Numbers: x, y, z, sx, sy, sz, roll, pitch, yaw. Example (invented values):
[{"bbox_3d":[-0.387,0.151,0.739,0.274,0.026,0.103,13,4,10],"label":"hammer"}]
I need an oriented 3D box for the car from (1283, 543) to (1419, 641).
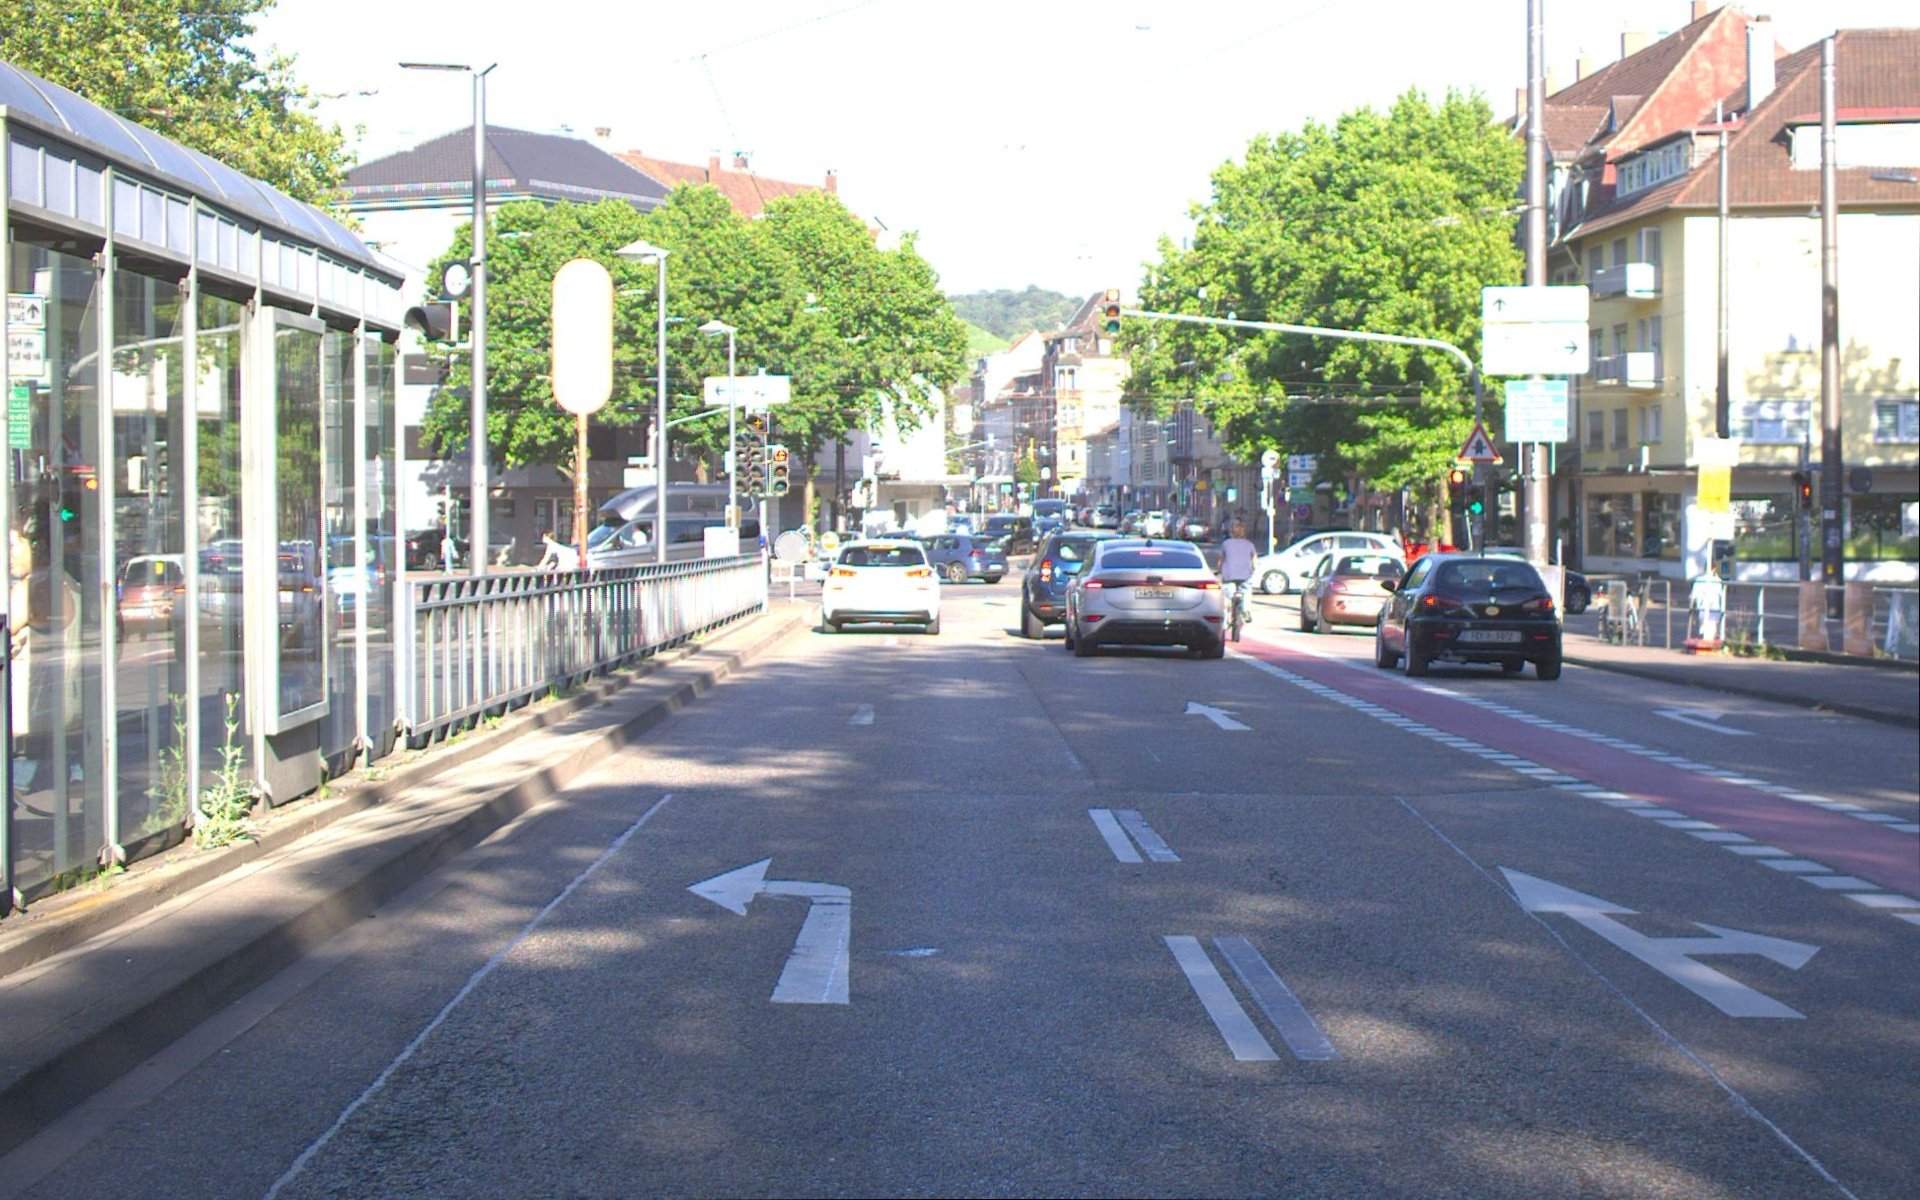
[{"bbox_3d":[6.634,-0.167,58.667,1.794,1.505,4.001,1,2,-1],"label":"car"}]

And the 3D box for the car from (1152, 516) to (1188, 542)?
[{"bbox_3d":[12.493,-4.220,204.791,1.794,1.505,4.000,0,1,-1],"label":"car"}]

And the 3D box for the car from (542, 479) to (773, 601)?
[{"bbox_3d":[-7.173,-1.399,81.523,5.013,2.733,2.074,1,0,-24],"label":"car"}]

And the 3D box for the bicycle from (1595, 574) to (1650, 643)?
[{"bbox_3d":[10.595,0.132,55.014,0.498,1.071,1.800,1,0,-1],"label":"bicycle"}]

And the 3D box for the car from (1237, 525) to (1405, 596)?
[{"bbox_3d":[9.096,-0.994,86.707,4.148,1.686,1.821,1,1,6],"label":"car"}]

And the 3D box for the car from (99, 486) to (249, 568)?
[{"bbox_3d":[-31.071,-2.875,136.206,2.499,3.154,6.528,1,1,22],"label":"car"}]

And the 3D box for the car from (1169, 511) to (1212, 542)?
[{"bbox_3d":[13.280,-4.224,198.263,2.105,1.770,4.342,0,1,-1],"label":"car"}]

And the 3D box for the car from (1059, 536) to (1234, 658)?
[{"bbox_3d":[2.361,-0.078,44.631,1.929,1.467,4.855,1,1,-1],"label":"car"}]

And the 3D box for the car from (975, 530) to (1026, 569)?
[{"bbox_3d":[1.925,-2.381,162.011,1.795,1.820,3.999,0,1,10],"label":"car"}]

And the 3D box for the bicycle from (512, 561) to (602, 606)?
[{"bbox_3d":[-7.433,-0.305,63.410,1.613,0.813,0.526,1,1,26],"label":"bicycle"}]

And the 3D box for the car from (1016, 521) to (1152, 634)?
[{"bbox_3d":[1.831,-0.365,51.855,1.800,1.632,4.045,1,1,-1],"label":"car"}]

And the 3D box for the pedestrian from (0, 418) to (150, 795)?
[{"bbox_3d":[-4.075,0.024,15.613,0.595,1.672,0.589,1,1,5],"label":"pedestrian"}]

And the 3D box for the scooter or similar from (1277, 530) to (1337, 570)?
[{"bbox_3d":[11.085,-1.594,109.853,1.949,1.276,0.552,1,1,41],"label":"scooter or similar"}]

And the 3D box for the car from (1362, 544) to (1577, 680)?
[{"bbox_3d":[5.844,0.103,39.863,1.800,1.434,4.045,2,1,-1],"label":"car"}]

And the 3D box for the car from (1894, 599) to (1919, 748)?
[{"bbox_3d":[13.184,0.963,42.638,1.794,1.891,4.360,1,0,-3],"label":"car"}]

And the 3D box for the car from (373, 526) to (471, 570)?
[{"bbox_3d":[-20.562,-2.011,131.620,1.923,1.643,4.176,1,1,20],"label":"car"}]

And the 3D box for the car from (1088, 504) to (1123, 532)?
[{"bbox_3d":[10.787,-6.085,255.188,2.327,2.007,4.977,0,1,-1],"label":"car"}]

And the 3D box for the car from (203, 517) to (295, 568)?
[{"bbox_3d":[-27.929,-2.274,135.225,1.796,1.949,3.997,1,1,18],"label":"car"}]

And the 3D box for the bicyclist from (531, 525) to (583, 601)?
[{"bbox_3d":[-7.429,-0.686,63.404,0.801,1.409,0.526,1,1,26],"label":"bicyclist"}]

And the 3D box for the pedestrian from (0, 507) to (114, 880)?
[{"bbox_3d":[-3.462,0.322,12.362,0.678,1.304,0.593,1,1,0],"label":"pedestrian"}]

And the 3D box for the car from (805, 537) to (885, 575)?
[{"bbox_3d":[-4.684,-1.796,140.517,1.726,1.505,3.871,0,0,24],"label":"car"}]

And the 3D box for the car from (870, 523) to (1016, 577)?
[{"bbox_3d":[-0.506,-1.450,99.374,3.996,1.505,1.796,1,1,39],"label":"car"}]

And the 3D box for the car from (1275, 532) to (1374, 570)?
[{"bbox_3d":[14.910,-2.005,140.487,3.989,1.505,1.799,-1,1,-42],"label":"car"}]

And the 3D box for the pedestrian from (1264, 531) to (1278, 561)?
[{"bbox_3d":[17.177,-2.982,189.762,0.648,1.645,0.650,1,0,10],"label":"pedestrian"}]

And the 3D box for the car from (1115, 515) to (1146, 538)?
[{"bbox_3d":[11.410,-4.932,230.181,1.794,1.517,4.000,0,1,-1],"label":"car"}]

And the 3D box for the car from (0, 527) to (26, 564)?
[{"bbox_3d":[-40.335,-2.231,141.027,1.796,1.505,3.995,1,1,23],"label":"car"}]

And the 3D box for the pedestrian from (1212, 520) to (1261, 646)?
[{"bbox_3d":[4.114,-0.254,51.125,0.657,1.864,0.678,0,1,-1],"label":"pedestrian"}]

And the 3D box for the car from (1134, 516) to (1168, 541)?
[{"bbox_3d":[11.734,-4.360,210.949,1.794,1.505,4.000,0,1,-1],"label":"car"}]

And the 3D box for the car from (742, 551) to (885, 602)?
[{"bbox_3d":[-3.553,-0.568,83.119,2.902,1.158,2.074,1,0,-24],"label":"car"}]

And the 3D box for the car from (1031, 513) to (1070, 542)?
[{"bbox_3d":[4.630,-3.723,176.612,1.794,1.505,4.001,0,1,-2],"label":"car"}]

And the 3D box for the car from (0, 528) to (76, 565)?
[{"bbox_3d":[-37.911,-2.178,139.666,1.796,1.505,3.995,1,1,23],"label":"car"}]

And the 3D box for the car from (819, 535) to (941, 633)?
[{"bbox_3d":[-1.245,-0.278,53.576,1.808,1.447,4.000,1,1,-1],"label":"car"}]

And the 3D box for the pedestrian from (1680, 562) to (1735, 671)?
[{"bbox_3d":[10.966,0.236,50.452,0.648,1.557,0.631,3,1,18],"label":"pedestrian"}]
